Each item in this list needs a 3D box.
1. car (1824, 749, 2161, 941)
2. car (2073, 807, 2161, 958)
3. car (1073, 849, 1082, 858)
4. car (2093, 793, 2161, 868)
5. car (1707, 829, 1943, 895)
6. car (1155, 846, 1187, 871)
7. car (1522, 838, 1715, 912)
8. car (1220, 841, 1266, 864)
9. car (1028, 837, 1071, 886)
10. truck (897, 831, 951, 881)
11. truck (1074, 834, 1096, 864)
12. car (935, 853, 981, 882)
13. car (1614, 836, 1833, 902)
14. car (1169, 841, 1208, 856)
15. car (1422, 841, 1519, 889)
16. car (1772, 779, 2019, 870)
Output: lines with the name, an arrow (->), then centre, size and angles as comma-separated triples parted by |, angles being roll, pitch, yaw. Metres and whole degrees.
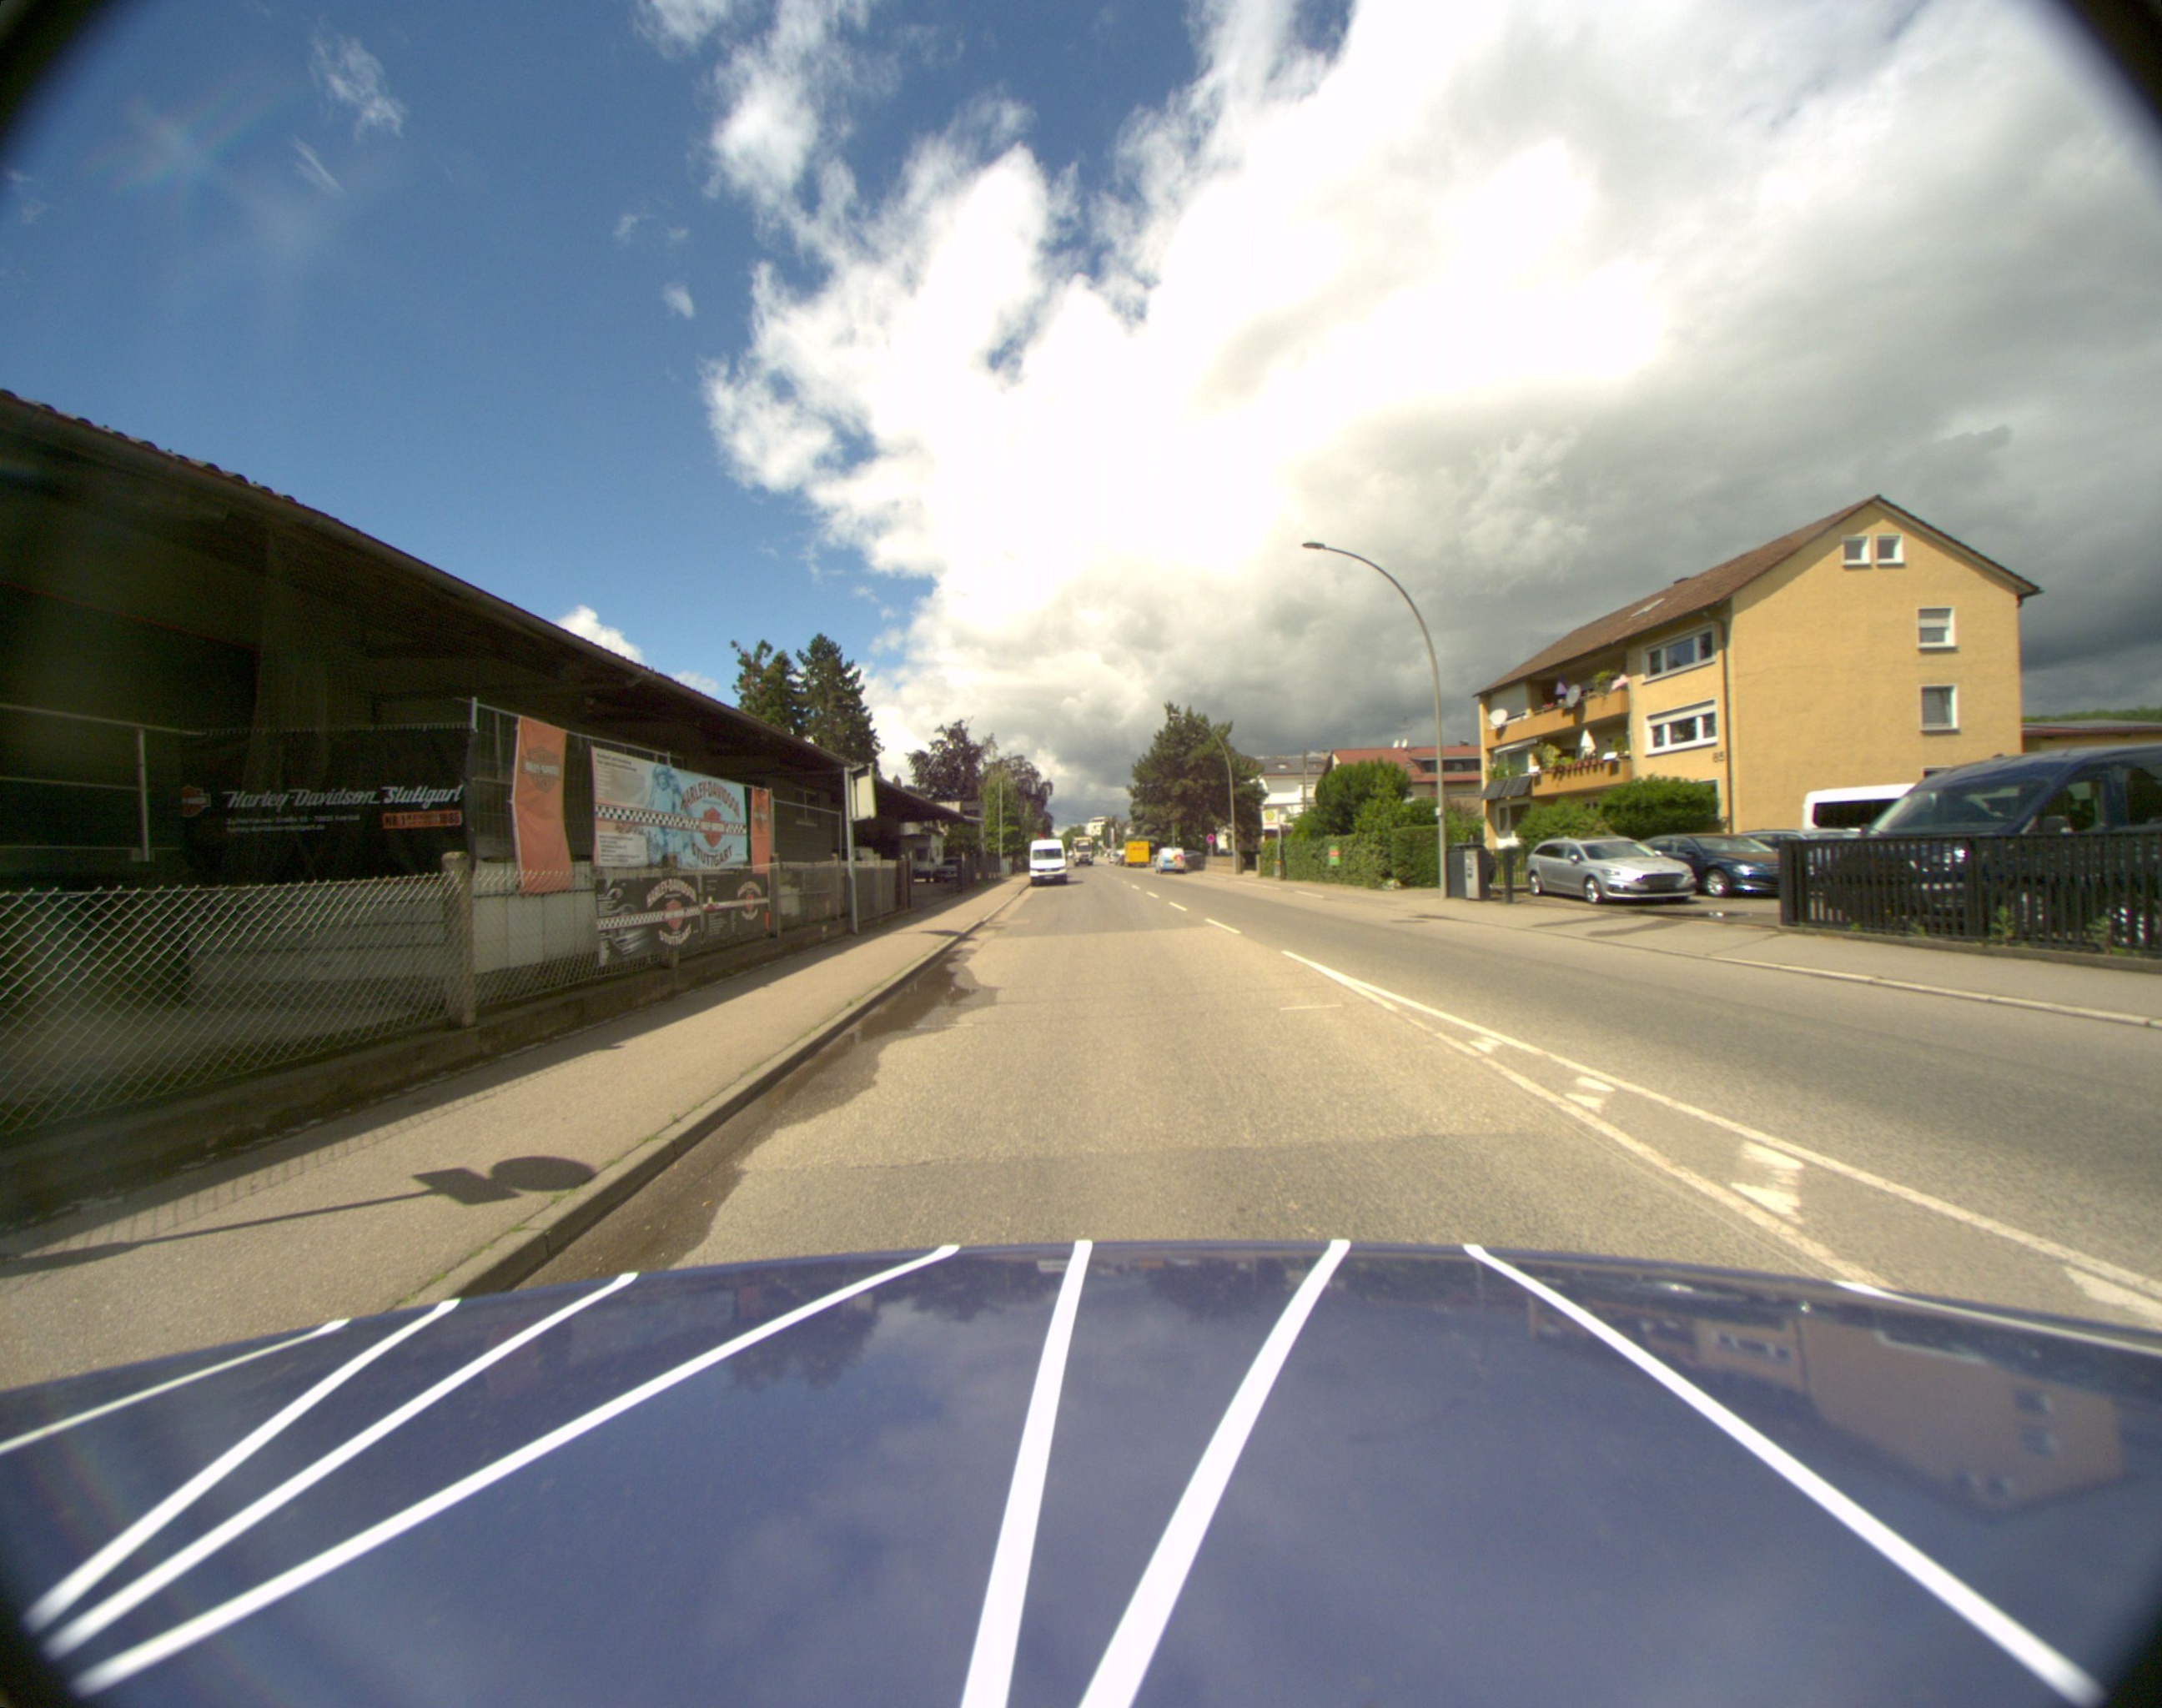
car -> 14.214, -0.178, 10.665 | 5.363, 2.371, 2.104 | -2, 1, 2
car -> 12.373, 0.286, 6.974 | 1.813, 1.612, 3.621 | -2, 1, 1
car -> -0.911, -0.206, 206.755 | 2.091, 2.310, 5.202 | -2, 1, 1
car -> 28.702, -0.624, 18.810 | 1.998, 1.915, 3.999 | -2, 1, 1
car -> 17.901, 0.150, 18.602 | 1.883, 1.364, 3.999 | -2, 1, 1
car -> 6.503, 0.291, 55.210 | 1.730, 1.671, 3.999 | -2, 1, -2
car -> 12.328, 0.398, 17.842 | 1.887, 1.450, 4.352 | -3, 1, 8
car -> 15.276, -0.142, 71.836 | 2.003, 2.002, 3.990 | -3, 1, -32
car -> -1.717, 0.374, 43.176 | 2.091, 2.519, 5.202 | -2, 1, 1
truck -> -9.489, 0.104, 46.382 | 2.091, 2.812, 5.202 | -2, 1, 1
truck -> 0.583, -0.662, 103.763 | 2.664, 3.789, 9.814 | -2, 1, 1
car -> -7.154, 0.734, 44.819 | 1.863, 1.521, 5.202 | -2, 1, 0
car -> 15.093, 0.304, 18.190 | 1.885, 1.334, 3.999 | -2, 1, 1
car -> 14.145, -0.738, 99.980 | 4.735, 1.669, 2.218 | -2, 1, -1
car -> 14.616, 0.364, 28.721 | 1.831, 1.656, 3.522 | -2, 1, 1
car -> 20.420, -0.686, 19.353 | 1.998, 2.002, 3.999 | -2, 1, 1
